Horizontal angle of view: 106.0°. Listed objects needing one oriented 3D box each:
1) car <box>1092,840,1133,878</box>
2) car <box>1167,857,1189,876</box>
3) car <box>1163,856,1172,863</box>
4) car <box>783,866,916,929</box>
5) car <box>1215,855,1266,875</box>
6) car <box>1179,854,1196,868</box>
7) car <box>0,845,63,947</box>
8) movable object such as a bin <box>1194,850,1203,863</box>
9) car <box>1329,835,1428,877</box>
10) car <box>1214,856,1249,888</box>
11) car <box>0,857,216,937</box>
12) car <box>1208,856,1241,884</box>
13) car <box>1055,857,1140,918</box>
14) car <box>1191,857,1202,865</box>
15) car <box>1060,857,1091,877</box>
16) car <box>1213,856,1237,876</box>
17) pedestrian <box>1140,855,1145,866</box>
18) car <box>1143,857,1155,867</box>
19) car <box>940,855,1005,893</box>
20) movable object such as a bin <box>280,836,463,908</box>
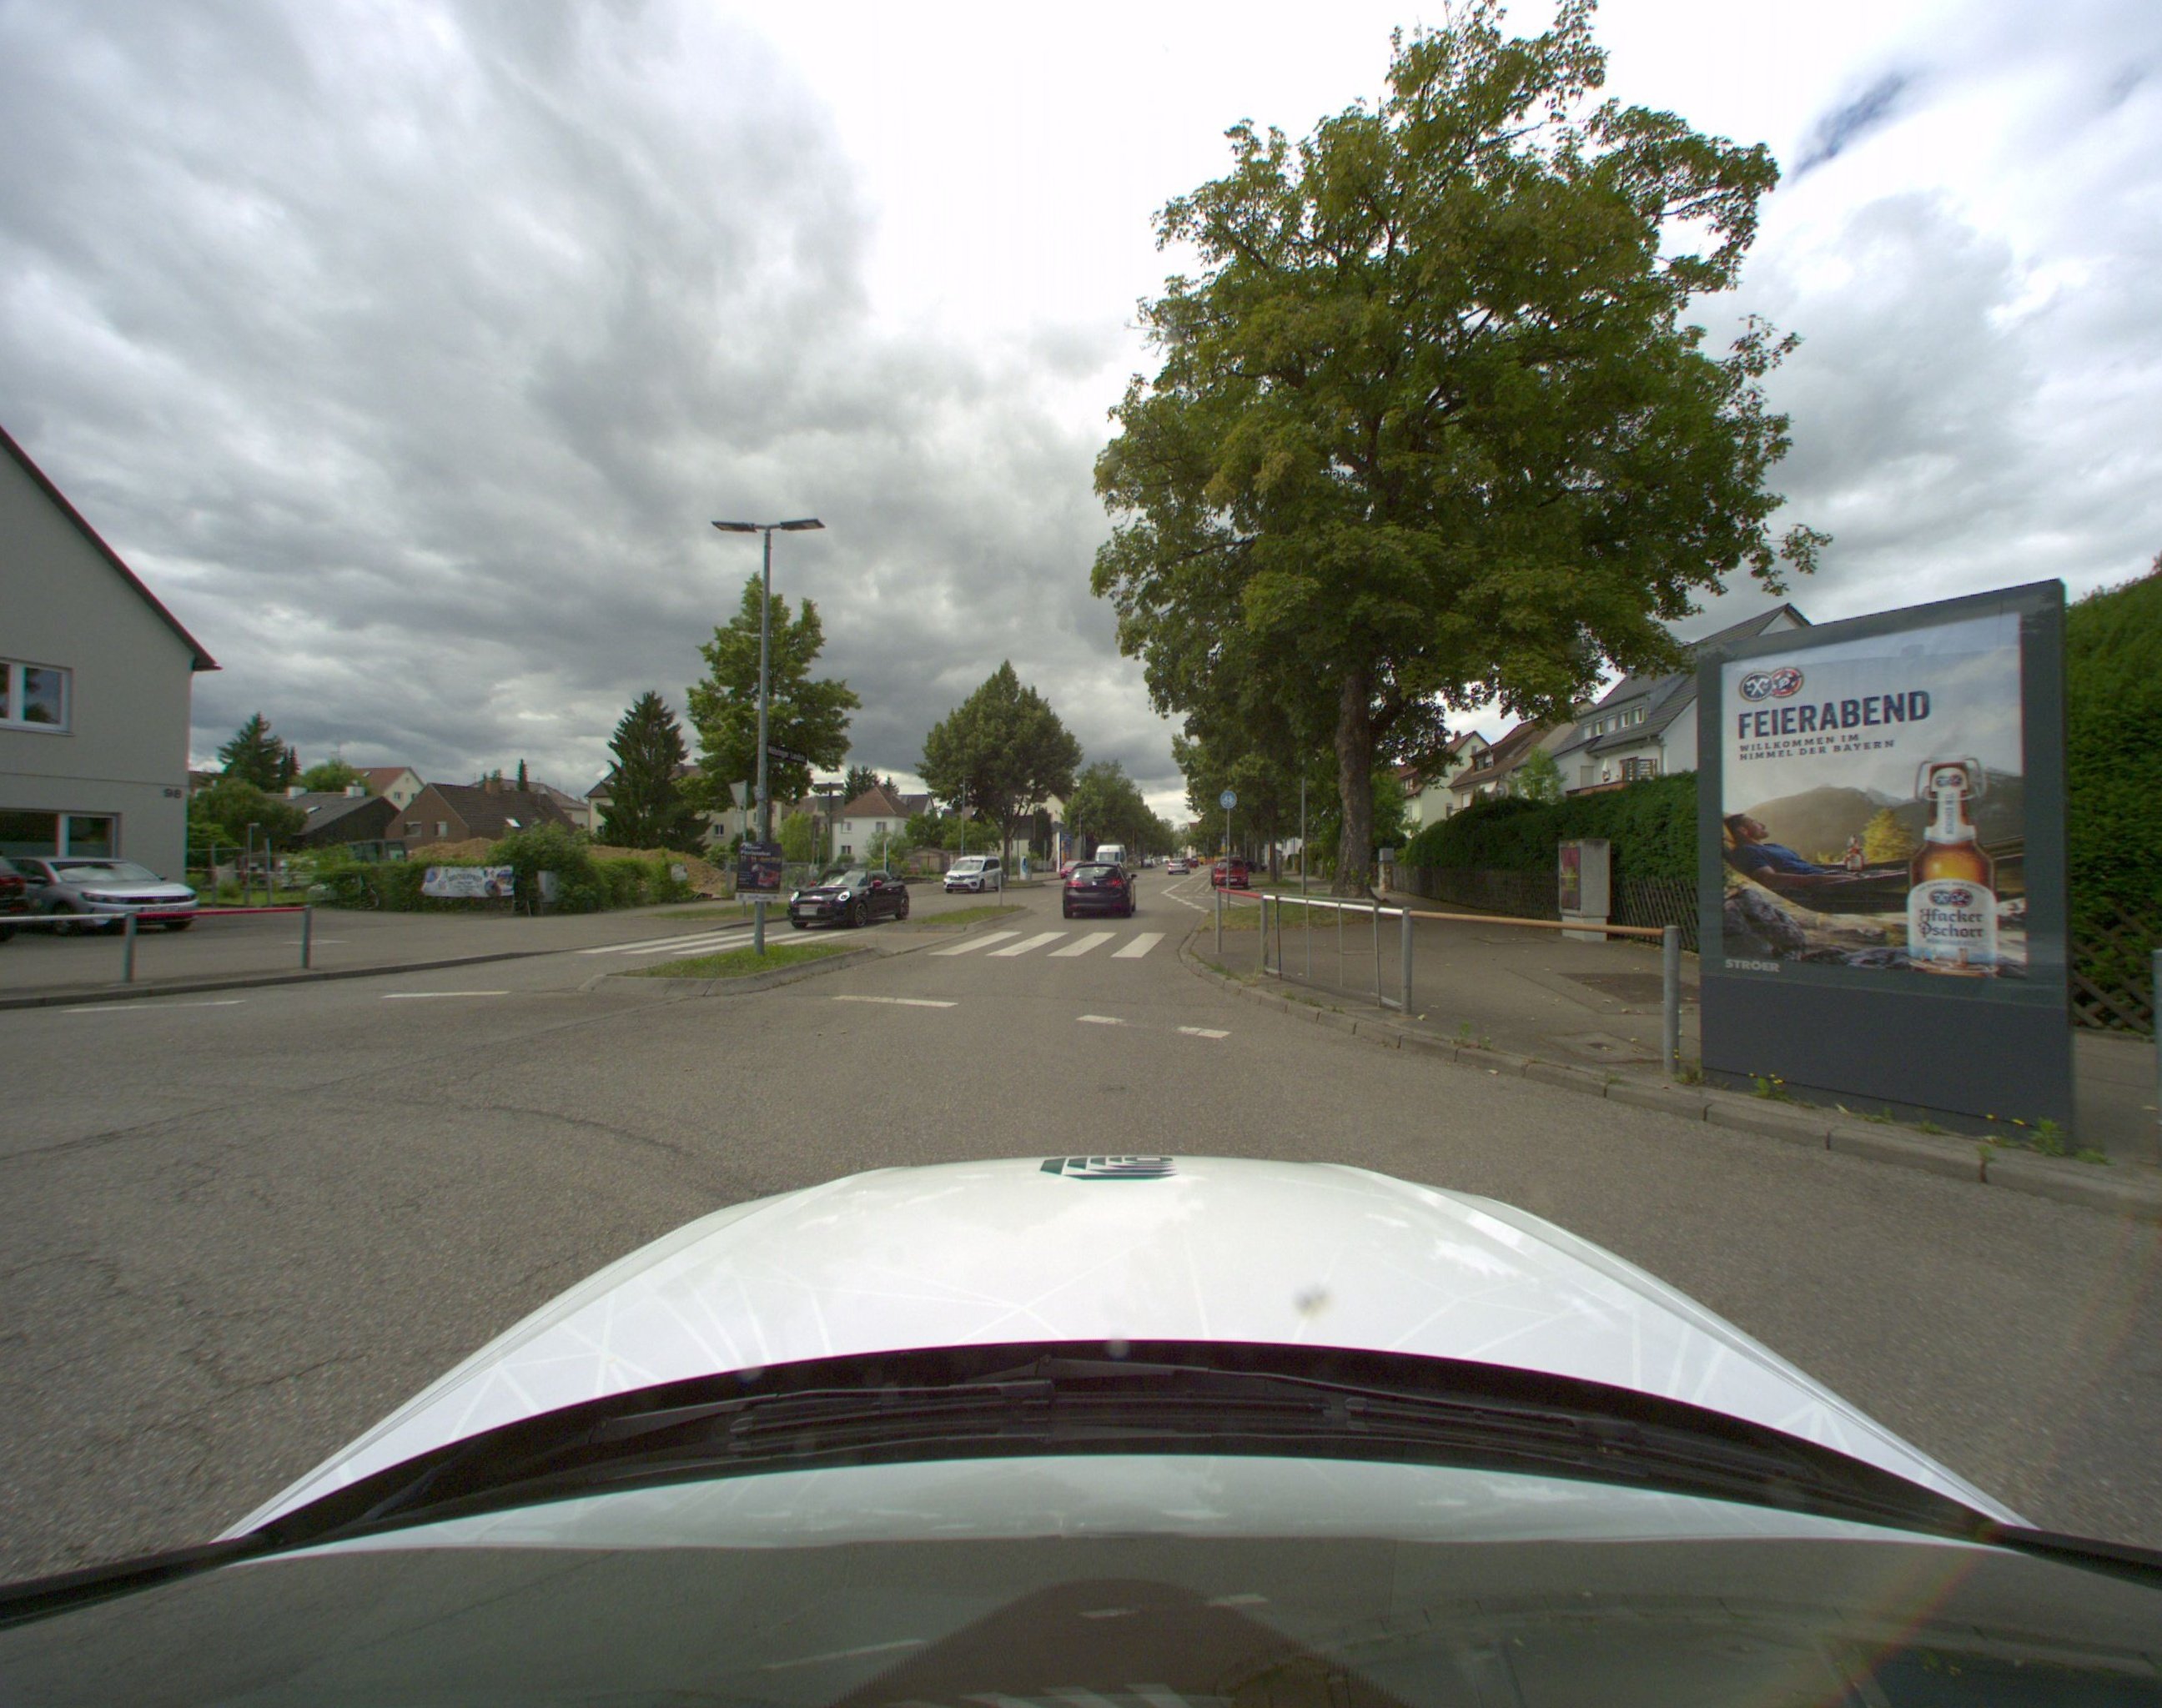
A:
[{"bbox_3d":[2.421,0.354,60.757,2.005,2.674,5.825,-1,0,12],"label":"car"},{"bbox_3d":[9.046,1.116,75.556,1.895,1.685,3.748,-1,0,8],"label":"car"},{"bbox_3d":[21.836,1.358,205.679,1.954,1.830,4.832,-1,0,10],"label":"car"},{"bbox_3d":[-5.607,1.014,20.214,1.563,1.362,3.755,-1,0,12],"label":"car"},{"bbox_3d":[13.907,0.954,71.031,4.197,1.638,1.695,-2,0,4],"label":"car"},{"bbox_3d":[14.695,0.925,111.906,1.894,1.882,4.015,-1,0,14],"label":"car"},{"bbox_3d":[-19.621,0.658,13.412,3.893,1.662,1.860,1,-2,10],"label":"car"},{"bbox_3d":[23.791,0.450,164.346,1.758,2.574,3.748,-1,0,8],"label":"movable object such as a bin"},{"bbox_3d":[19.246,0.145,52.884,5.685,2.591,2.001,-1,0,5],"label":"car"},{"bbox_3d":[7.209,0.865,39.145,1.555,1.455,3.678,-1,-1,10],"label":"car"},{"bbox_3d":[-19.576,0.781,15.927,3.893,1.402,1.752,1,0,10],"label":"car"},{"bbox_3d":[7.912,0.857,45.088,1.643,1.416,4.187,-2,0,9],"label":"car"},{"bbox_3d":[0.529,0.830,21.780,1.809,1.438,3.748,-1,0,8],"label":"car"},{"bbox_3d":[18.418,1.115,129.972,1.800,1.375,3.701,-1,0,8],"label":"car"},{"bbox_3d":[-0.391,1.038,66.384,1.674,1.541,4.146,-1,0,12],"label":"car"},{"bbox_3d":[10.739,0.859,61.067,1.643,1.416,4.187,-2,0,9],"label":"car"},{"bbox_3d":[8.909,0.935,118.725,0.538,1.681,0.754,1,1,18],"label":"pedestrian"},{"bbox_3d":[10.527,1.262,125.725,1.633,1.420,4.030,-2,0,9],"label":"car"},{"bbox_3d":[-5.283,0.926,40.320,1.758,1.770,4.566,-1,0,12],"label":"car"},{"bbox_3d":[-23.347,0.550,27.060,1.885,2.188,4.372,-1,0,8],"label":"movable object such as a bin"}]
